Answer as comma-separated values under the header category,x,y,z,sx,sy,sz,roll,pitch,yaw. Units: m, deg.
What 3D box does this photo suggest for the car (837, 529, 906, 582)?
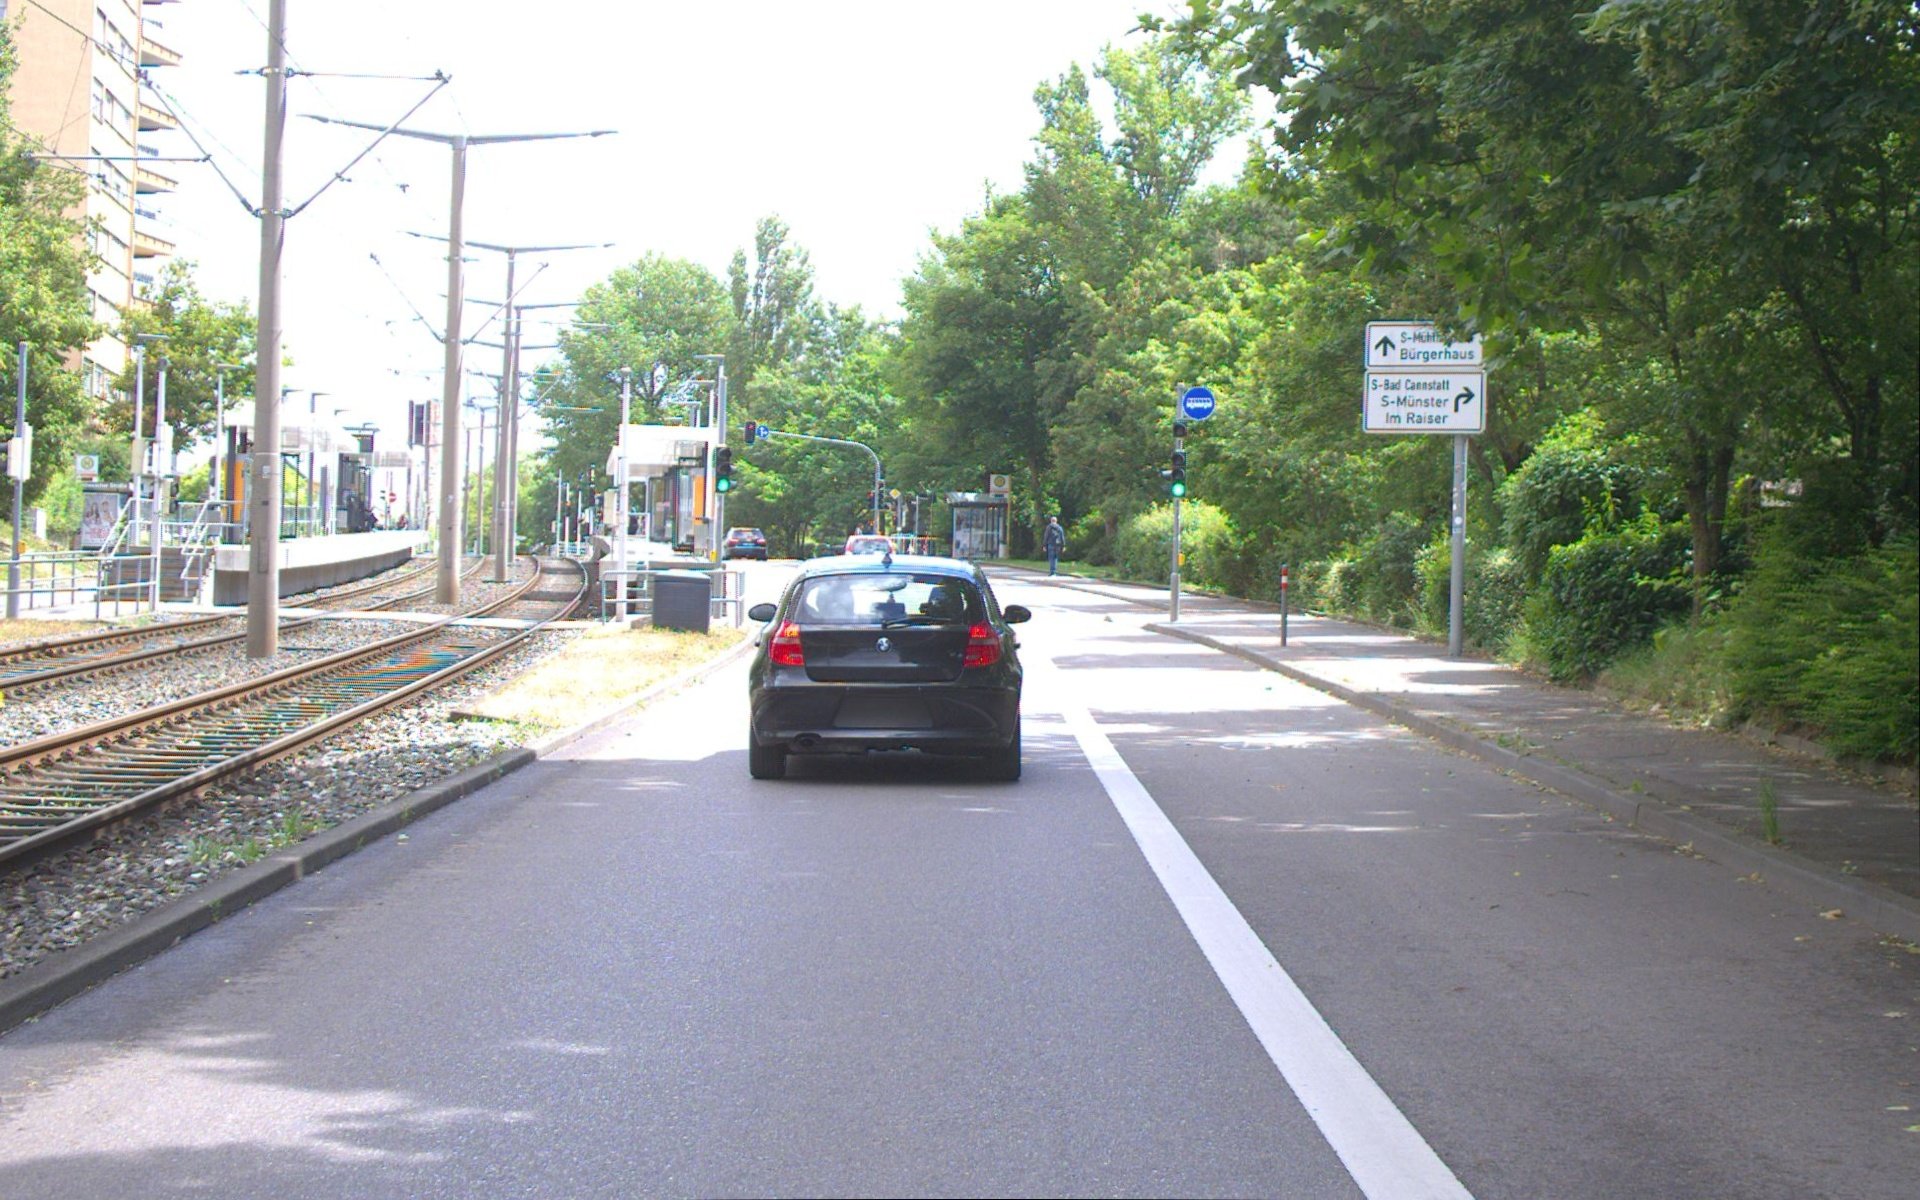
category,x,y,z,sx,sy,sz,roll,pitch,yaw
car,-2.555,-1.288,98.563,1.781,1.454,3.922,1,1,-4

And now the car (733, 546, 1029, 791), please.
category,x,y,z,sx,sy,sz,roll,pitch,yaw
car,-0.570,0.379,22.683,1.781,1.454,3.921,0,1,-3

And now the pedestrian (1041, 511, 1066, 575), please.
category,x,y,z,sx,sy,sz,roll,pitch,yaw
pedestrian,2.956,-1.797,108.912,0.740,2.007,0.681,1,1,0

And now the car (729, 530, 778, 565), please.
category,x,y,z,sx,sy,sz,roll,pitch,yaw
car,-9.074,-2.313,150.776,1.909,1.454,4.003,1,1,-6
